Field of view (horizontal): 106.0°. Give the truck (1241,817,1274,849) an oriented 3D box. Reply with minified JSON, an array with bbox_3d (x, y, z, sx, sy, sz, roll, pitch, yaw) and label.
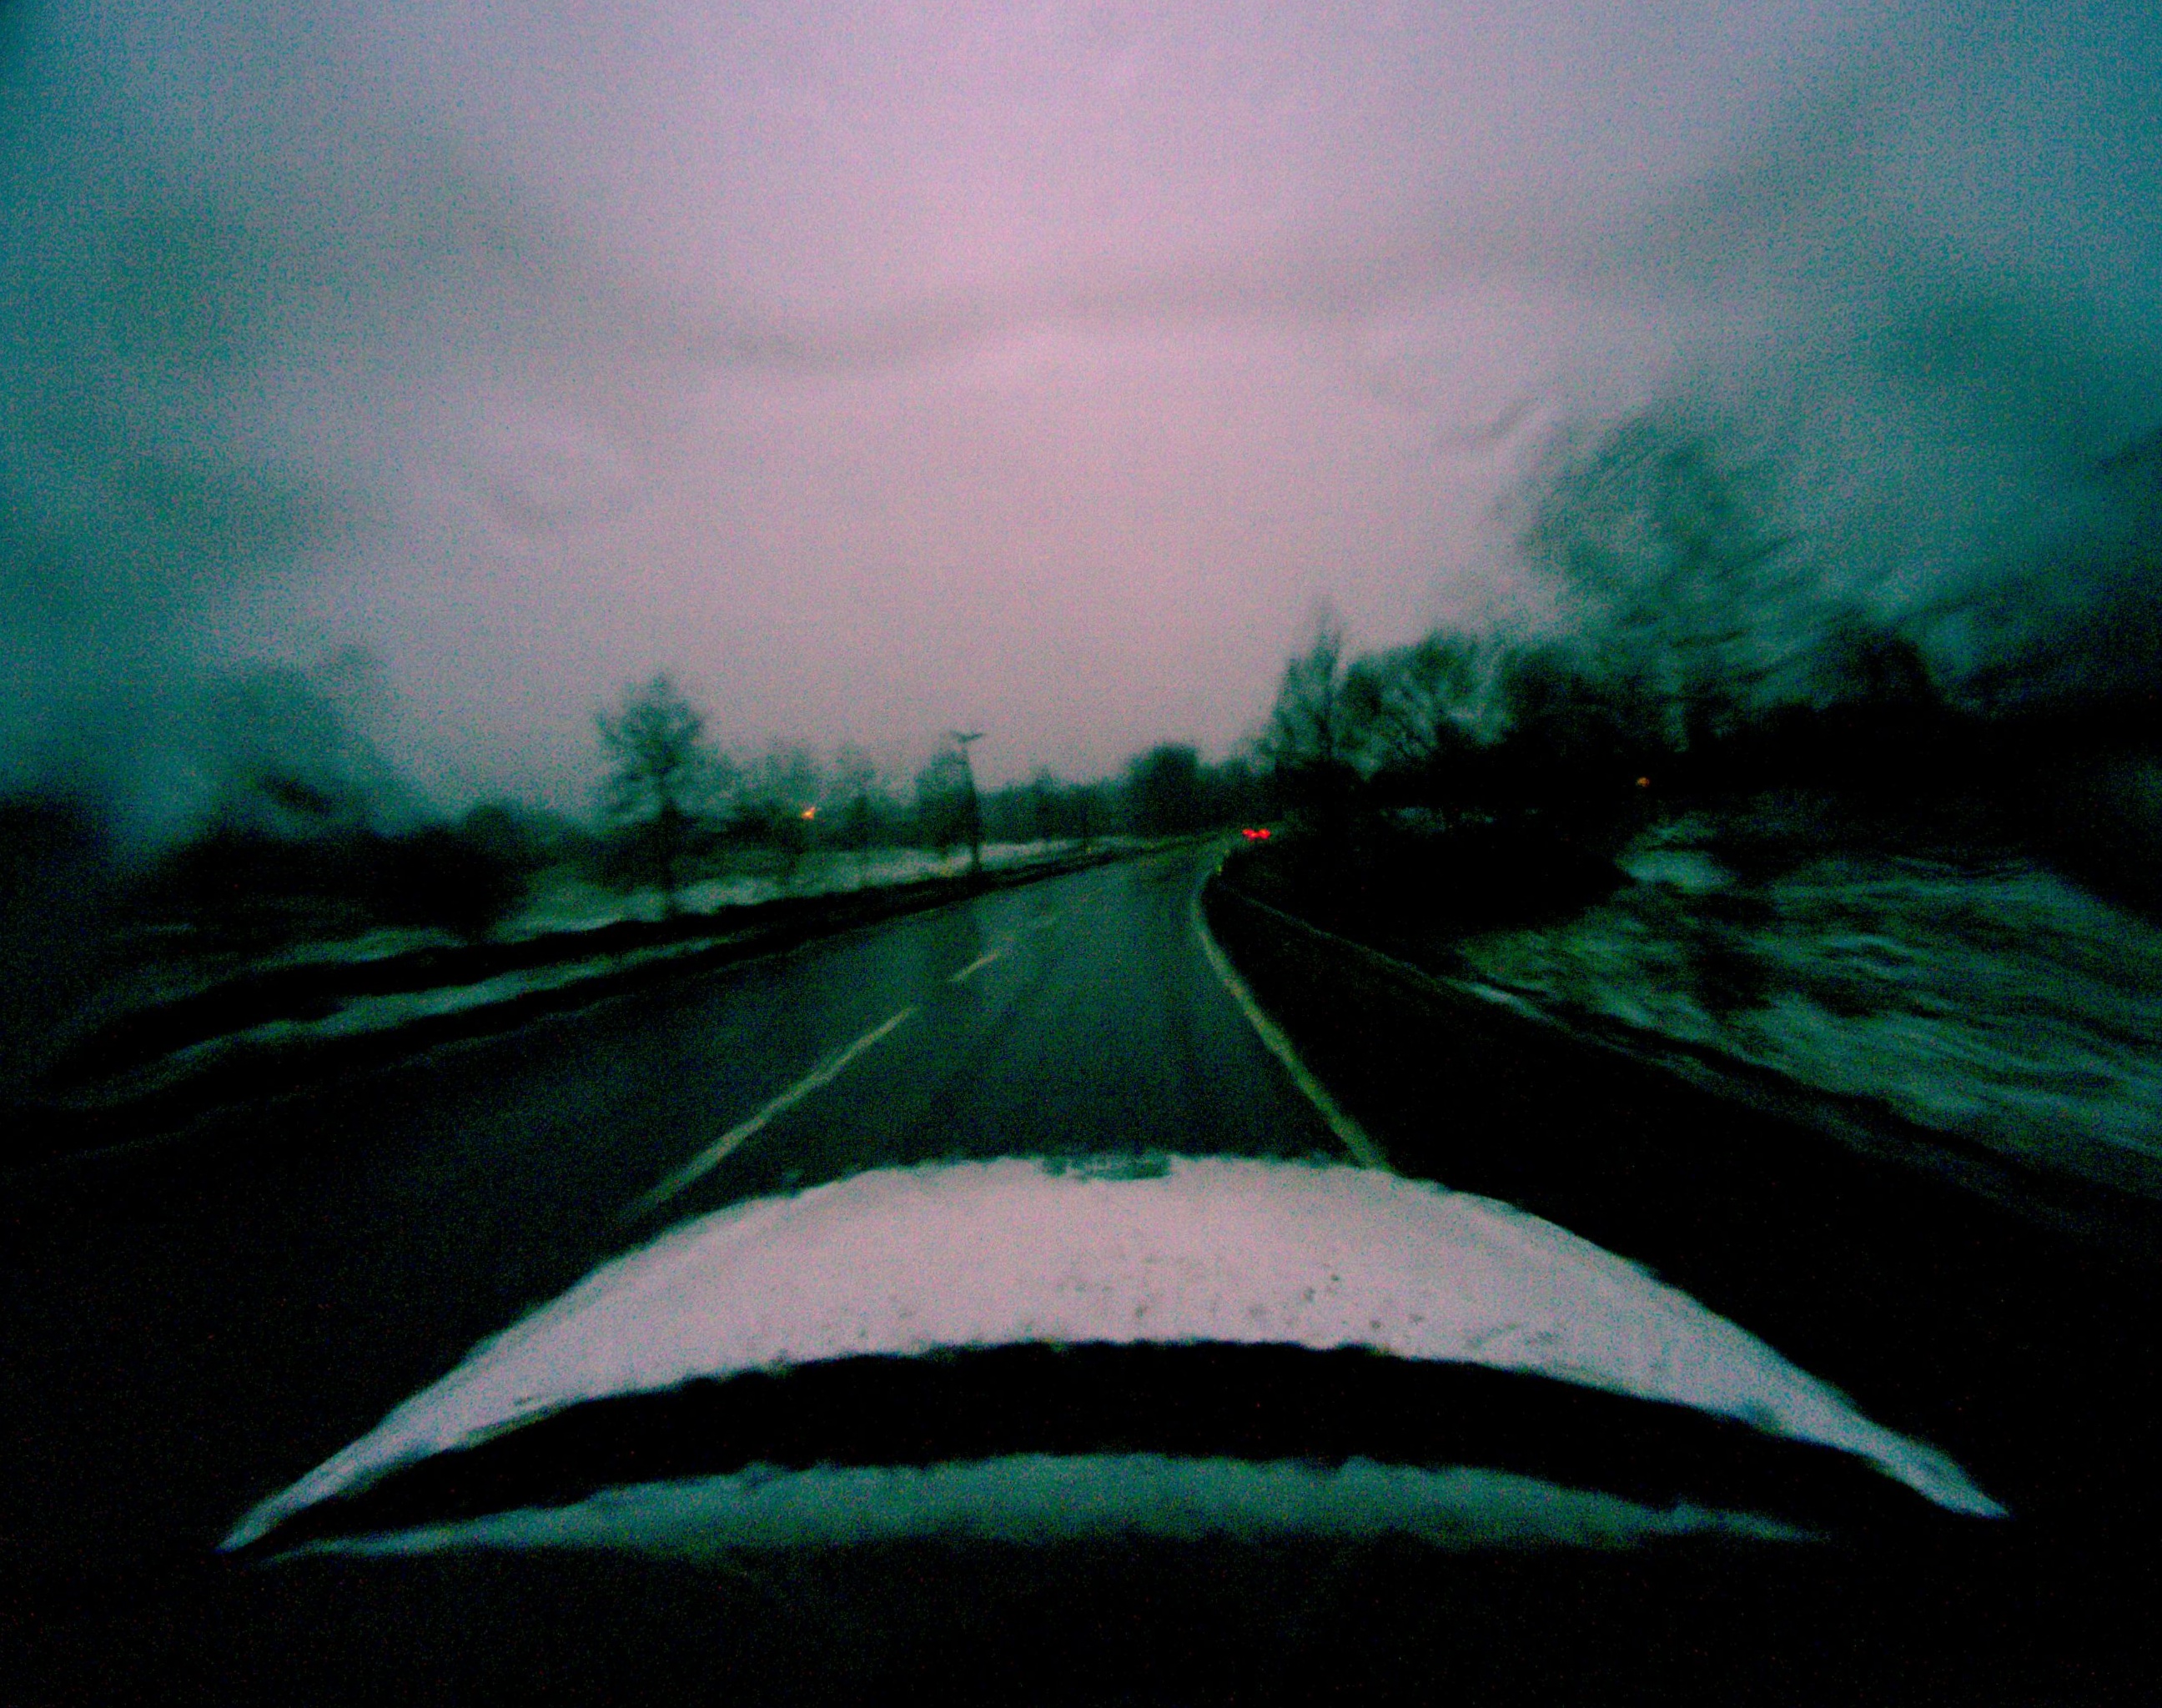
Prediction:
[{"bbox_3d":[18.146,-2.157,83.524,2.511,2.868,5.953,-3,3,19],"label":"truck"}]
